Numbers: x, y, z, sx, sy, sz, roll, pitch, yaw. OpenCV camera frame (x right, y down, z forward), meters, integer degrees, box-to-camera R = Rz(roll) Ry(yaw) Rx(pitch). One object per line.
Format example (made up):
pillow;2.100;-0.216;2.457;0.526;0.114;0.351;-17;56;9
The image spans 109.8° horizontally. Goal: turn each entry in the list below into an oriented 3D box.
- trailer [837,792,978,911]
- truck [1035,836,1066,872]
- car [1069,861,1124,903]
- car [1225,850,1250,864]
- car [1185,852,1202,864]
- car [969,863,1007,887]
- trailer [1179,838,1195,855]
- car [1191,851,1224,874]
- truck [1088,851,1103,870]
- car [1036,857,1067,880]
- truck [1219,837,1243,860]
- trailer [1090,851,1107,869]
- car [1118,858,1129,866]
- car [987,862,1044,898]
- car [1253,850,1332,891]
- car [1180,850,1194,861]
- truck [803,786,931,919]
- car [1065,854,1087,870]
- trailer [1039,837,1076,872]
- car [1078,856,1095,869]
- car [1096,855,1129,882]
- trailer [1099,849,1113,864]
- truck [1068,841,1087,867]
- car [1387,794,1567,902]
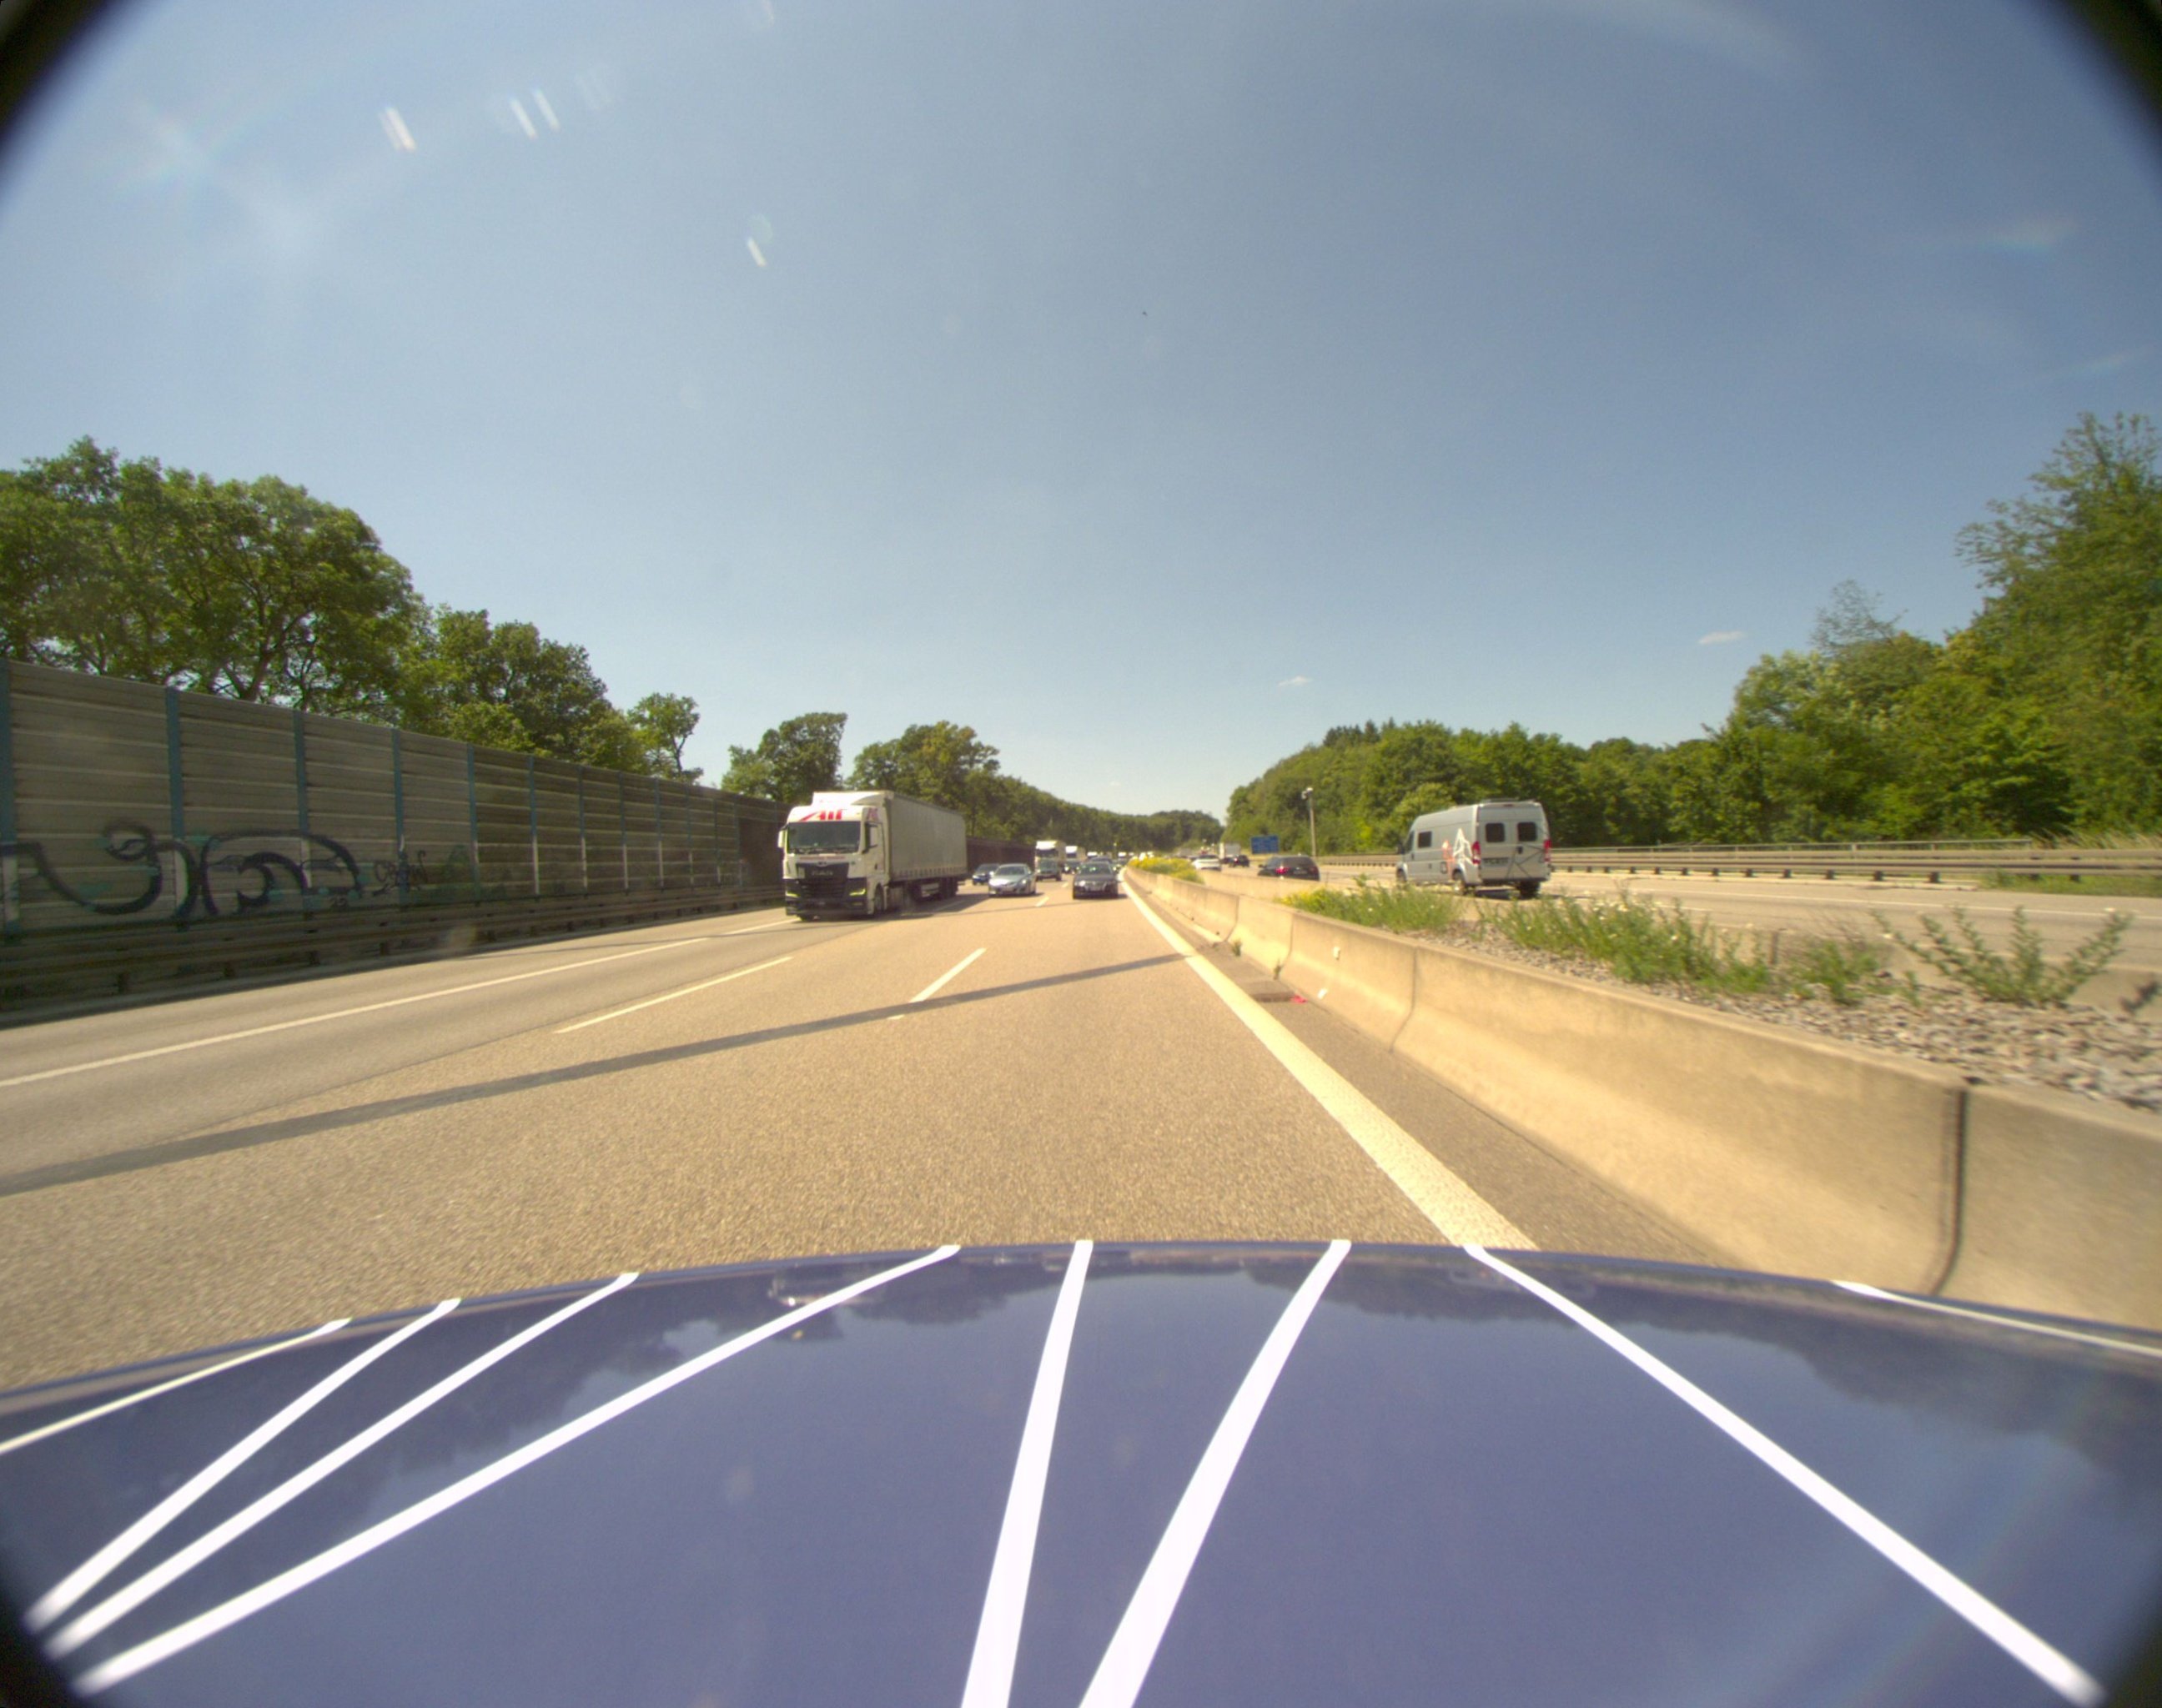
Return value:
trailer;-7.023;-0.140;33.538;2.604;4.067;13.591;-2;0;2
truck;-3.695;0.024;93.753;2.811;4.190;5.423;-3;0;6
car;0.652;1.024;29.401;1.907;1.410;4.001;-3;0;3
car;17.687;0.365;86.032;1.998;1.472;4.691;-2;0;2
car;15.533;0.550;105.160;1.846;1.537;4.001;-2;0;3
car;-6.576;1.467;54.107;1.860;1.484;4.178;-3;0;4
trailer;26.531;-1.828;190.164;2.787;3.834;10.172;-2;0;3
car;9.134;0.614;55.111;1.808;1.518;4.257;-2;0;2
truck;3.560;1.497;182.861;2.853;4.382;5.242;-3;0;7
car;-2.154;1.064;56.675;1.907;1.550;4.001;-3;0;3
truck;23.756;-0.872;120.593;2.741;3.454;7.316;-2;0;4
trailer;4.479;1.481;190.758;2.853;4.391;13.033;-3;0;7
car;8.888;1.667;158.648;1.998;1.641;4.001;-2;0;5
car;-2.869;1.113;34.223;1.860;1.426;4.178;-3;0;4
car;8.137;0.574;29.660;1.880;1.402;4.412;-2;0;1
car;17.571;0.213;126.042;1.998;1.691;4.531;-2;0;3
truck;-7.207;-0.071;26.453;2.604;4.067;5.552;-2;1;1
car;-0.540;0.889;85.881;1.998;1.641;4.001;-2;0;5
trailer;-2.981;0.012;100.465;2.820;4.190;13.470;-3;0;6
car;0.764;1.133;104.124;1.998;1.641;4.001;-2;0;5
car;2.117;0.922;50.404;1.998;1.641;4.000;-2;1;3
trailer;7.165;0.627;217.635;3.153;4.061;6.186;-3;0;9
truck;-0.567;0.023;129.147;2.544;4.149;4.748;-3;0;8
car;11.400;-0.173;22.564;2.221;2.685;6.062;-2;0;1
